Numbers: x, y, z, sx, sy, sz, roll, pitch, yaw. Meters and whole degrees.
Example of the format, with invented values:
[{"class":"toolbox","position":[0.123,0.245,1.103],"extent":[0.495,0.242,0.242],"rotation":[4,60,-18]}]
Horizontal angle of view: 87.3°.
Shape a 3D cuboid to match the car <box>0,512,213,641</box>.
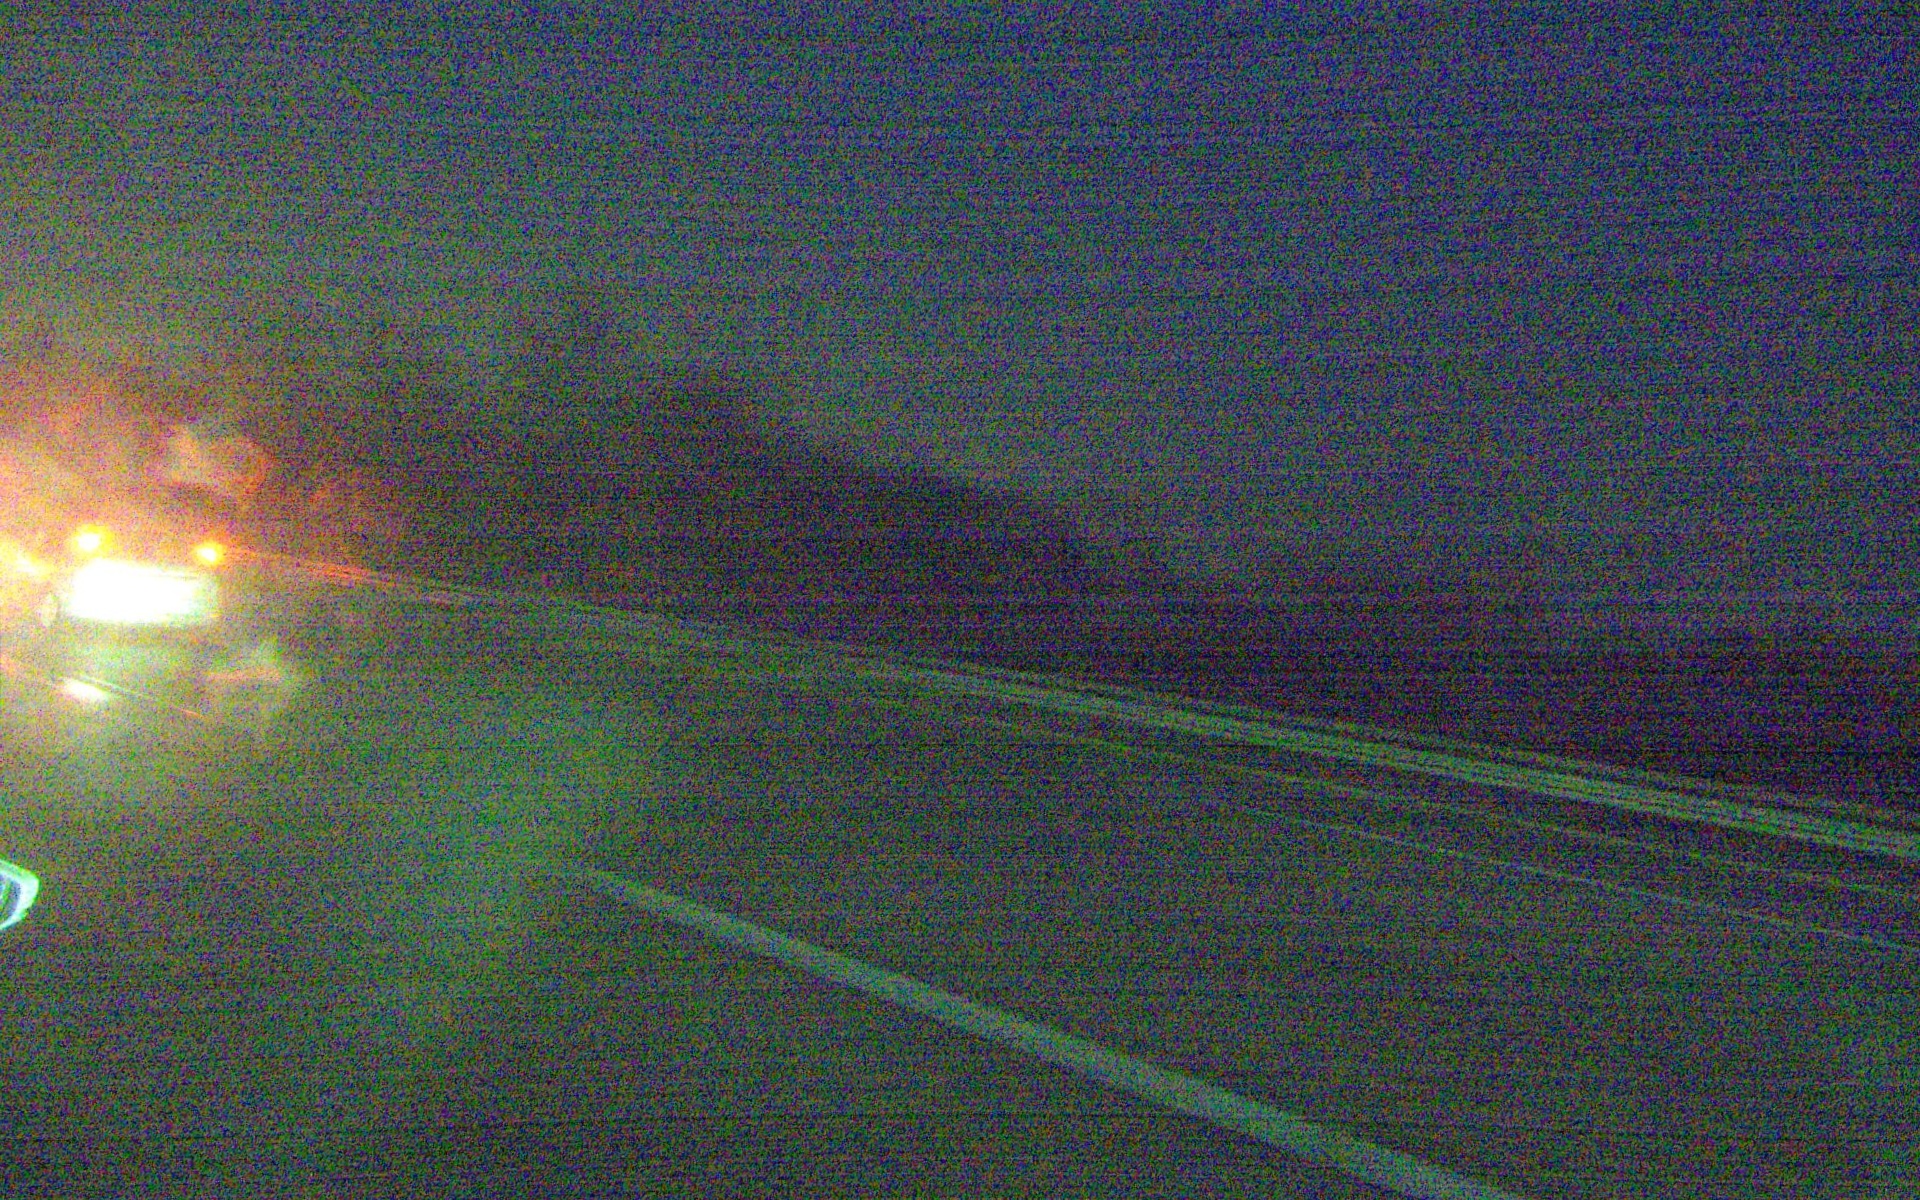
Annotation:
[{"class":"car","position":[-11.253,-0.349,12.748],"extent":[3.014,1.260,1.586],"rotation":[7,-2,27]}]
